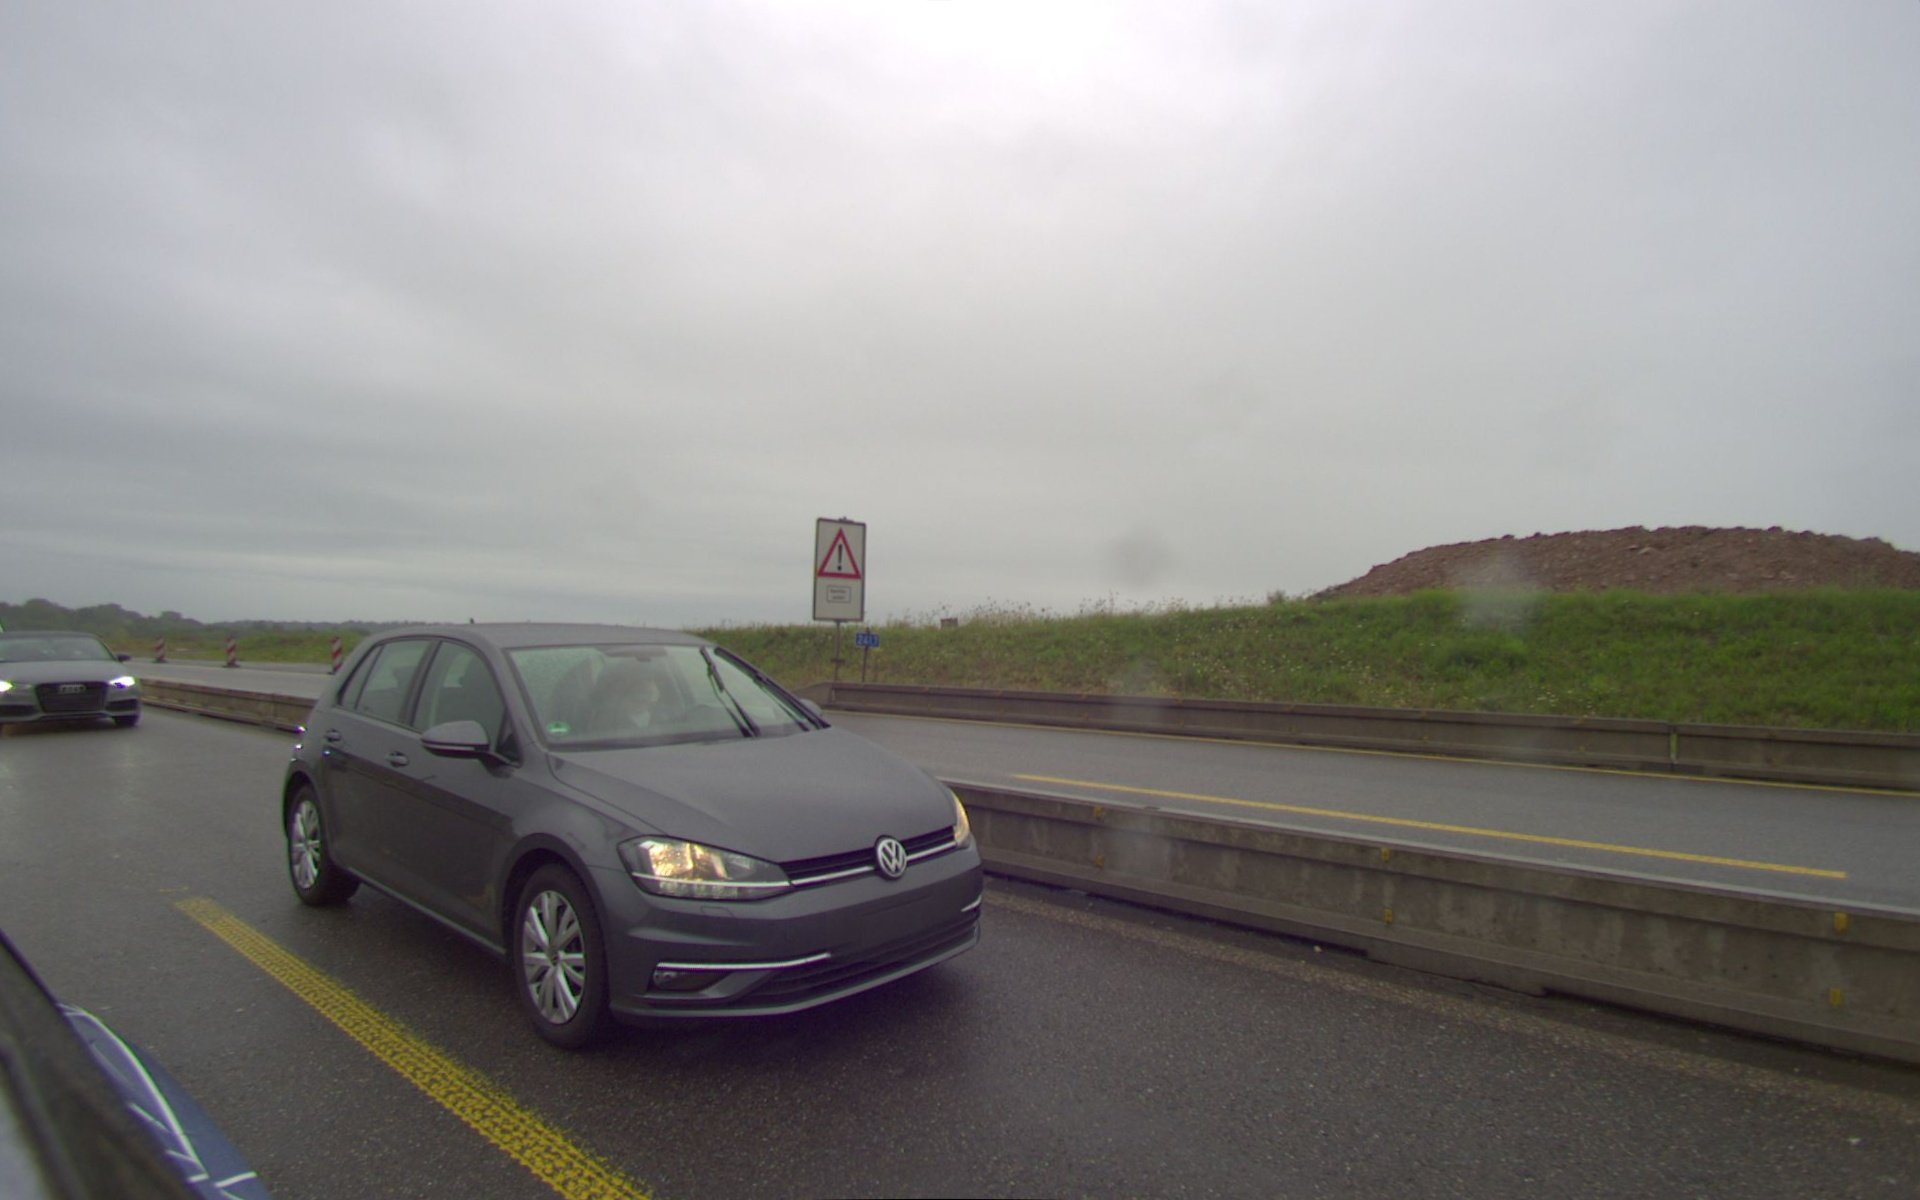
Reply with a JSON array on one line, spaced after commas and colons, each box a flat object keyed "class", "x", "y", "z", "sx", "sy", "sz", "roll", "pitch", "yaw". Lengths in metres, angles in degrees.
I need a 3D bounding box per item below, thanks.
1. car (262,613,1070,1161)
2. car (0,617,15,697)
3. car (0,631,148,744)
[{"class": "car", "x": -1.637, "y": 0.778, "z": 4.630, "sx": 4.079, "sy": 1.433, "sz": 1.632, "roll": -1, "pitch": -1, "yaw": 41}, {"class": "car", "x": -24.978, "y": 1.375, "z": 24.830, "sx": 5.177, "sy": 1.873, "sz": 2.133, "roll": -1, "pitch": -1, "yaw": 41}, {"class": "car", "x": -13.849, "y": 1.211, "z": 15.222, "sx": 4.266, "sy": 1.407, "sz": 1.777, "roll": -1, "pitch": -1, "yaw": 40}]
